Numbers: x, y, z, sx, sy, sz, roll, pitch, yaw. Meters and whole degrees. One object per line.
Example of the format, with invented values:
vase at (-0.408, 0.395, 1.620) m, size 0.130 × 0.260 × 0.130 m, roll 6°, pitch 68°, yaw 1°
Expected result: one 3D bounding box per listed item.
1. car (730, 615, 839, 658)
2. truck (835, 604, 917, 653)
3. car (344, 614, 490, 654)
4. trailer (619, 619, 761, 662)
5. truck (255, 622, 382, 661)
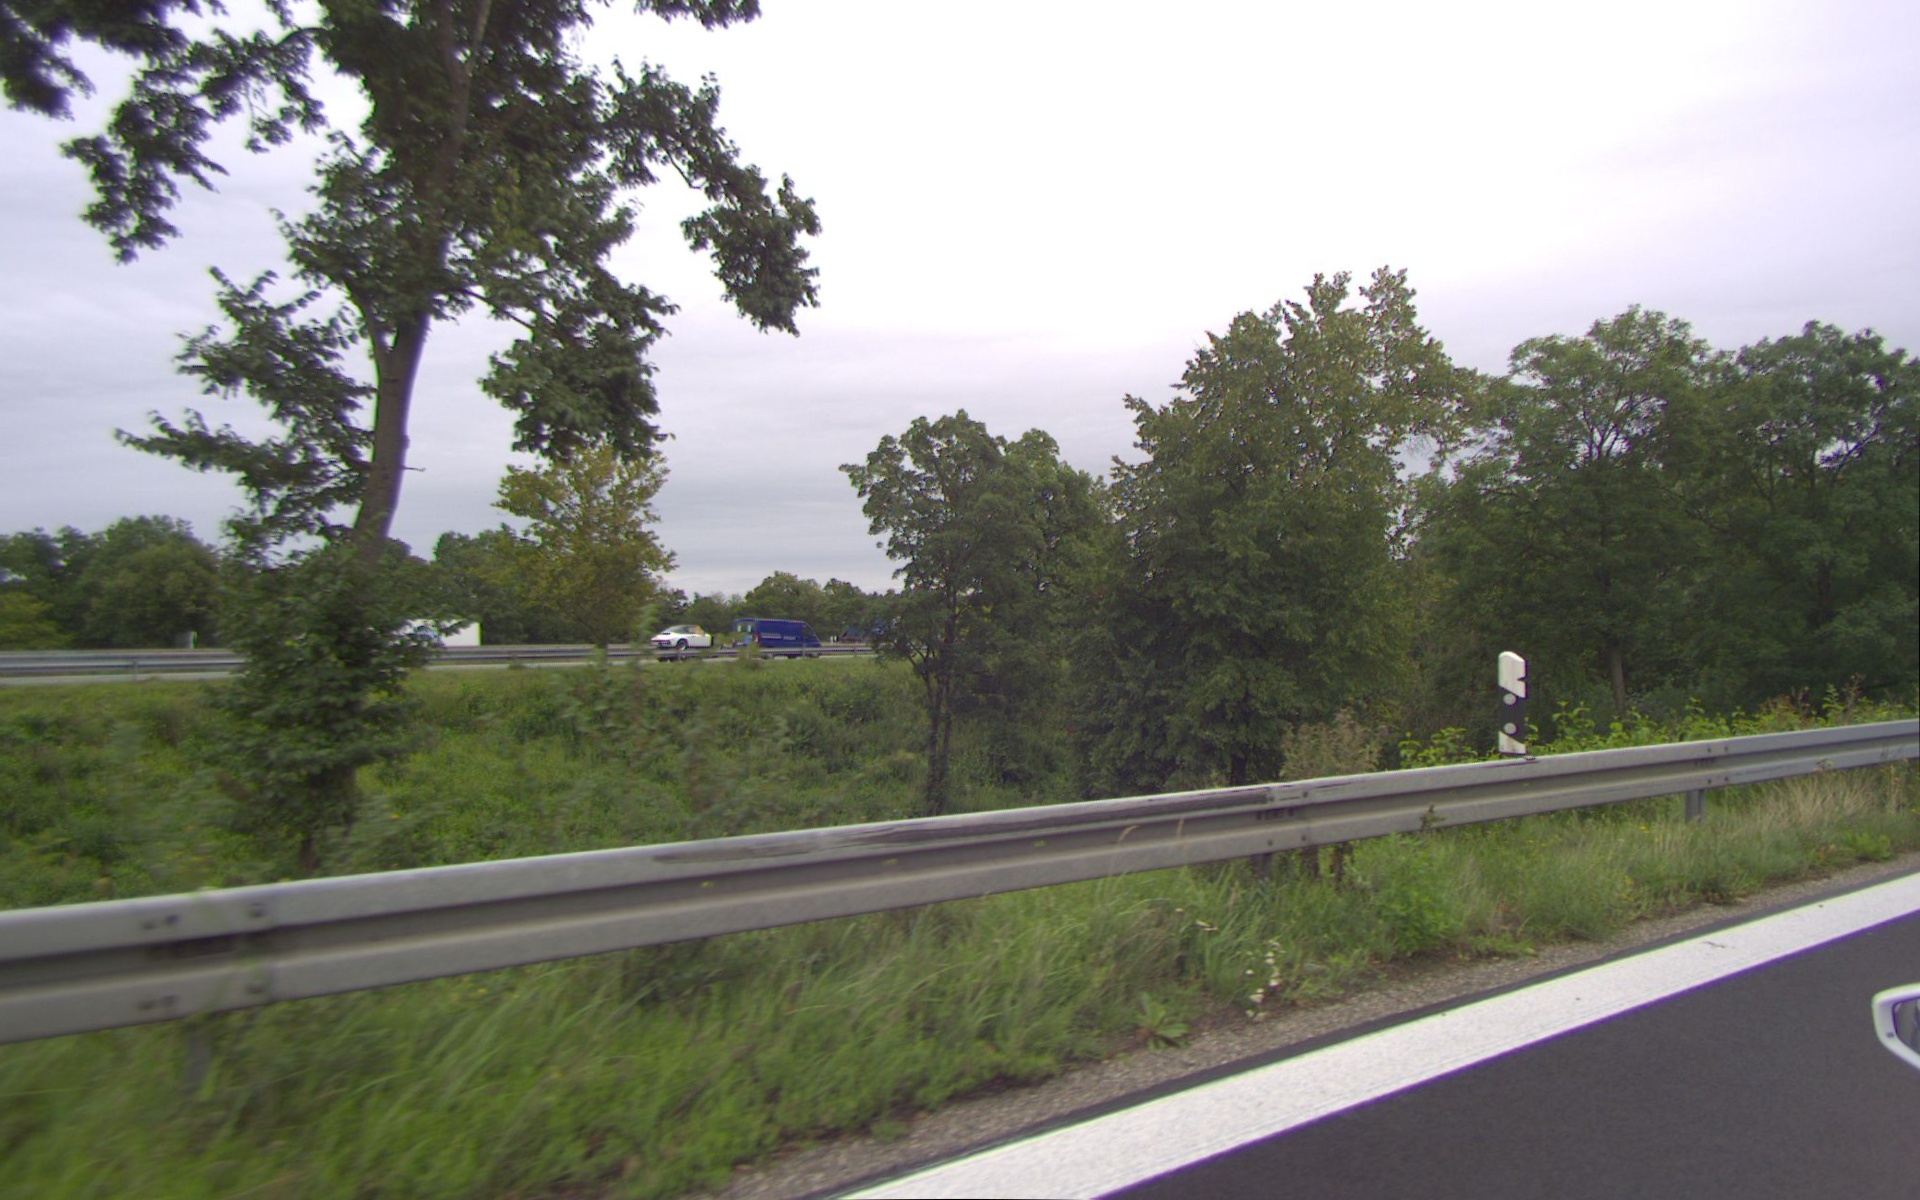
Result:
car at (-9.734, 2.008, 56.237) m, size 2.341 × 2.296 × 6.236 m, roll -1°, pitch -2°, yaw 35°
truck at (-6.854, 2.364, 83.168) m, size 2.603 × 3.862 × 7.319 m, roll -1°, pitch -2°, yaw 36°
car at (-43.127, 2.698, 80.169) m, size 2.696 × 3.021 × 10.048 m, roll -1°, pitch -2°, yaw 36°
trailer at (-13.487, 1.995, 50.804) m, size 2.452 × 2.021 × 7.040 m, roll -1°, pitch -2°, yaw 35°
truck at (-54.565, 3.495, 85.623) m, size 8.856 × 3.169 × 2.255 m, roll 2°, pitch -2°, yaw -44°
